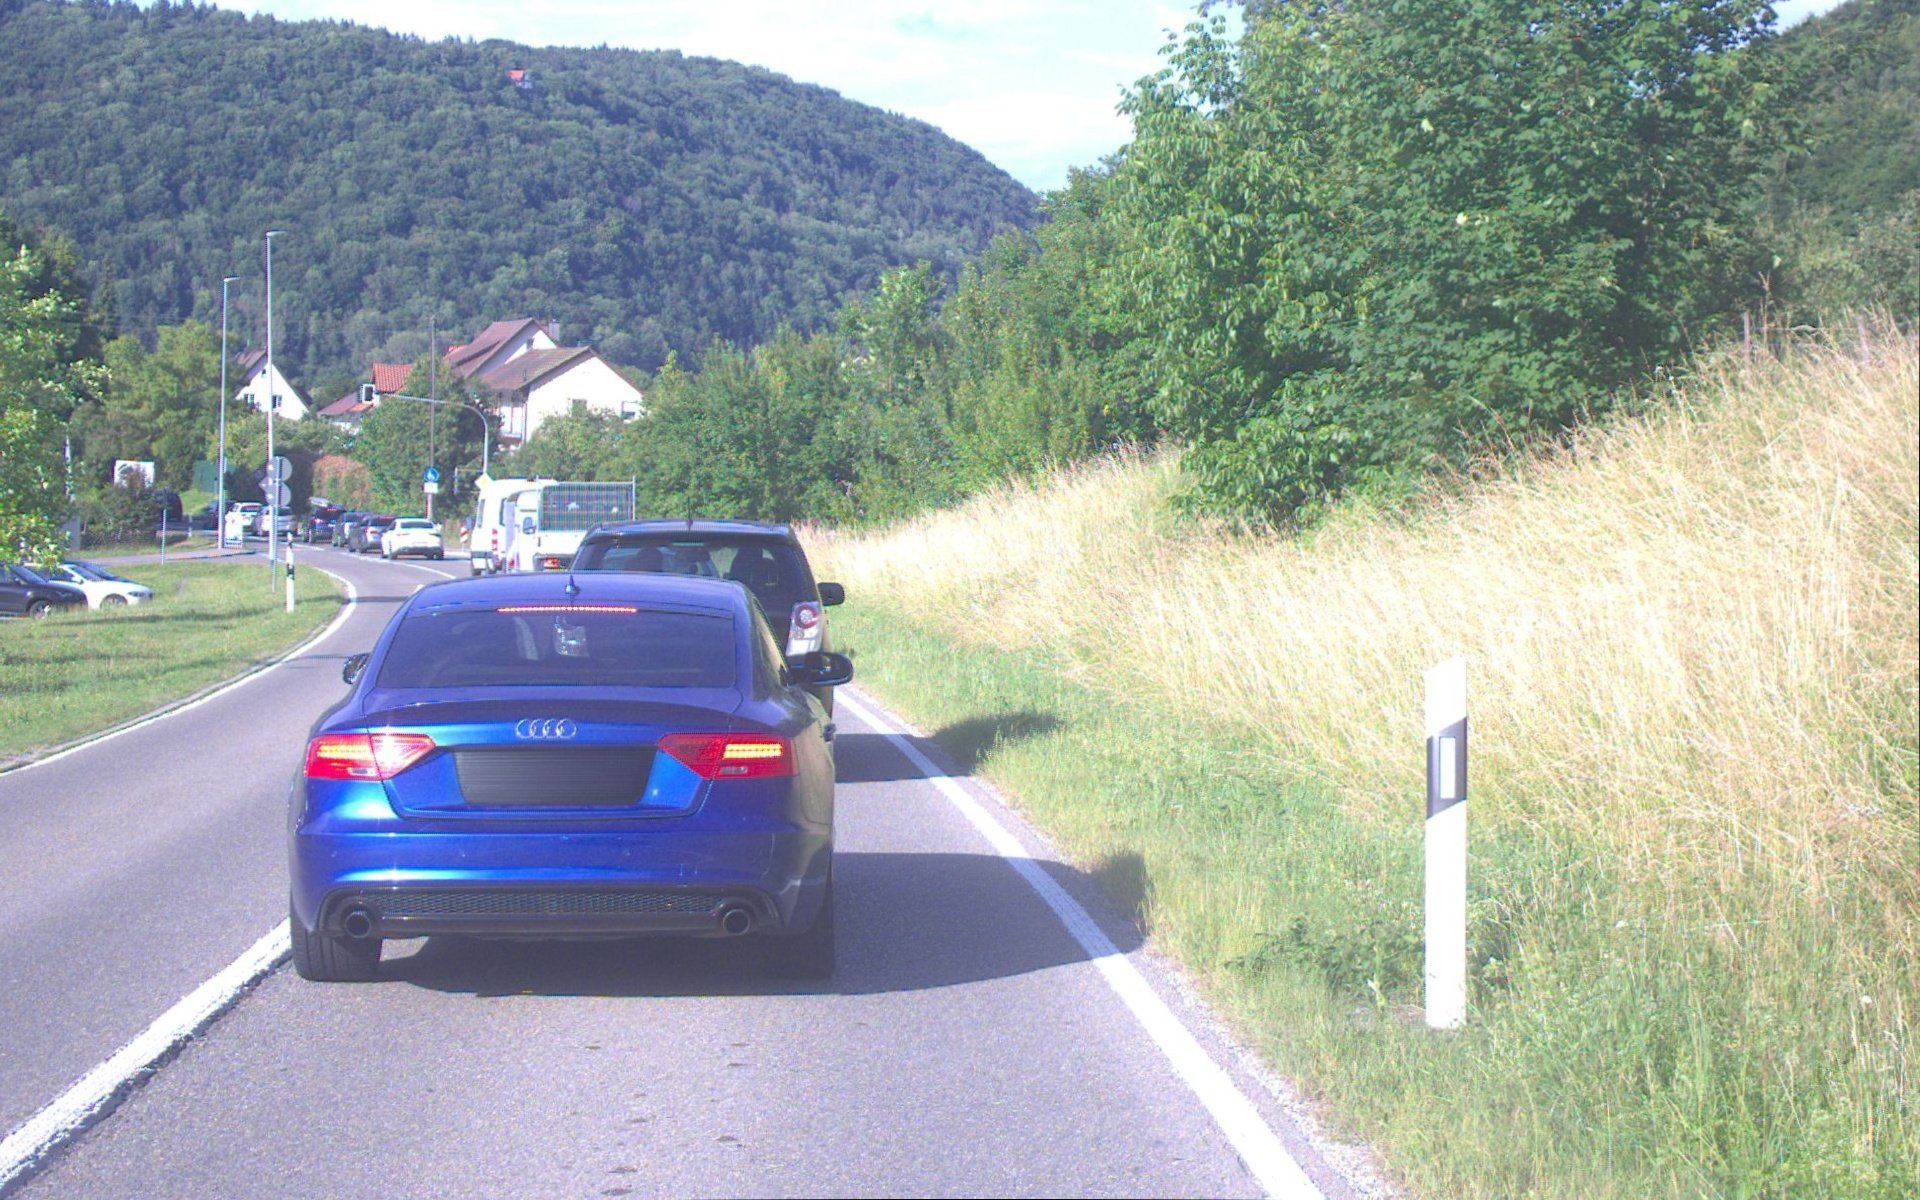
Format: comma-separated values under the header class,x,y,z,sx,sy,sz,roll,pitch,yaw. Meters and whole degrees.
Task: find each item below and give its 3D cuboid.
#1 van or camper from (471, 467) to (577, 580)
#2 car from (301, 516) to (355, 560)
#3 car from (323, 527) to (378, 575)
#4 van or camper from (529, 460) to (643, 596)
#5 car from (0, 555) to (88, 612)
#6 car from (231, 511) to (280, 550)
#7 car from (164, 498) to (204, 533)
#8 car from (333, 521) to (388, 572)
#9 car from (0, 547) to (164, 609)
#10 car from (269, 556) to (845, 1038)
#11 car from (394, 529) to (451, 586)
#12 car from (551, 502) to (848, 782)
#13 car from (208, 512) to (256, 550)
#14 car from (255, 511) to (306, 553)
class,x,y,z,sx,sy,sz,roll,pitch,yaw
van or camper,-10.886,-1.882,85.590,2.280,2.704,5.769,-1,1,-10
car,-27.634,-2.703,150.293,1.676,1.918,4.001,-1,1,-19
car,-24.887,-2.011,140.205,1.659,1.918,4.001,-1,1,-18
van or camper,-7.250,-1.376,66.333,2.051,2.497,5.813,-1,1,-7
car,-24.471,-0.414,88.312,3.713,1.434,1.509,0,1,5
car,-35.375,-3.482,172.608,1.676,1.918,4.001,-1,1,-22
car,-43.891,-4.780,194.487,1.676,1.918,4.001,-1,1,-20
car,-22.728,-2.029,130.272,1.659,1.918,4.001,-1,1,-15
car,-23.739,-0.603,92.893,4.036,1.655,1.655,0,1,5
car,-1.381,0.576,12.279,1.742,1.445,3.517,0,1,-5
car,-18.673,-1.483,119.331,1.659,1.918,4.001,-1,1,-13
car,-1.744,0.215,22.060,1.645,1.619,3.518,1,1,-8
car,-38.121,-3.613,179.953,1.954,1.918,4.001,-1,1,-19
car,-32.369,-3.229,163.600,1.676,1.918,4.001,-1,1,-21
